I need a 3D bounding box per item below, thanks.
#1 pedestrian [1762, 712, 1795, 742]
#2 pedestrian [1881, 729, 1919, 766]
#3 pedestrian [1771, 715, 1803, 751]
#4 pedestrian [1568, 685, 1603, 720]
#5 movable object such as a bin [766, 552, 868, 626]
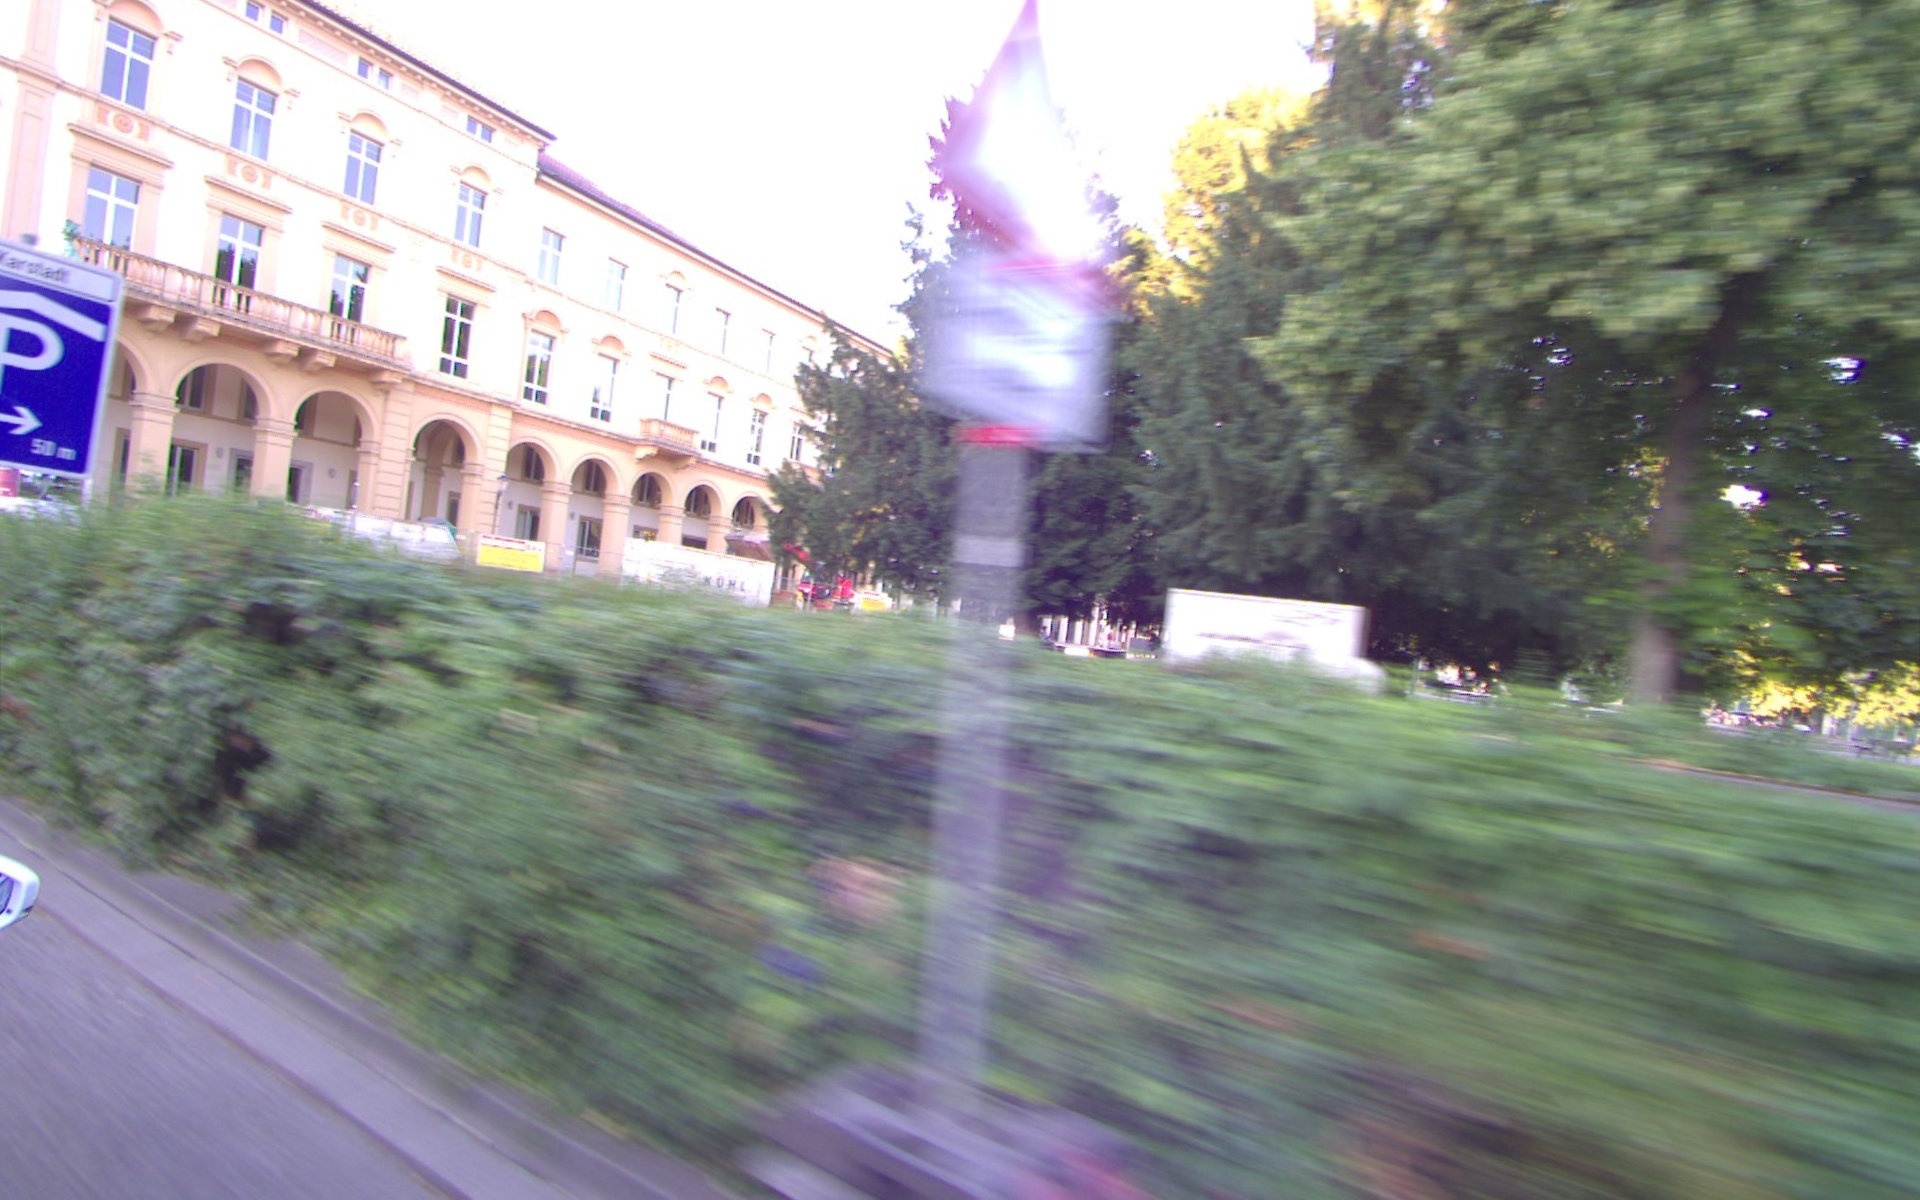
[{"bbox_3d":[45.010,6.984,55.351,1.134,1.387,0.831,8,1,-22],"label":"pedestrian"},{"bbox_3d":[35.703,5.601,38.191,0.724,1.215,1.103,7,0,29],"label":"pedestrian"},{"bbox_3d":[31.622,5.069,38.464,0.653,1.215,1.103,7,0,29],"label":"pedestrian"},{"bbox_3d":[26.027,4.271,41.873,1.061,1.308,0.834,8,1,-40],"label":"pedestrian"},{"bbox_3d":[-6.895,-0.464,49.081,1.967,3.045,4.893,7,0,32],"label":"movable object such as a bin"}]
